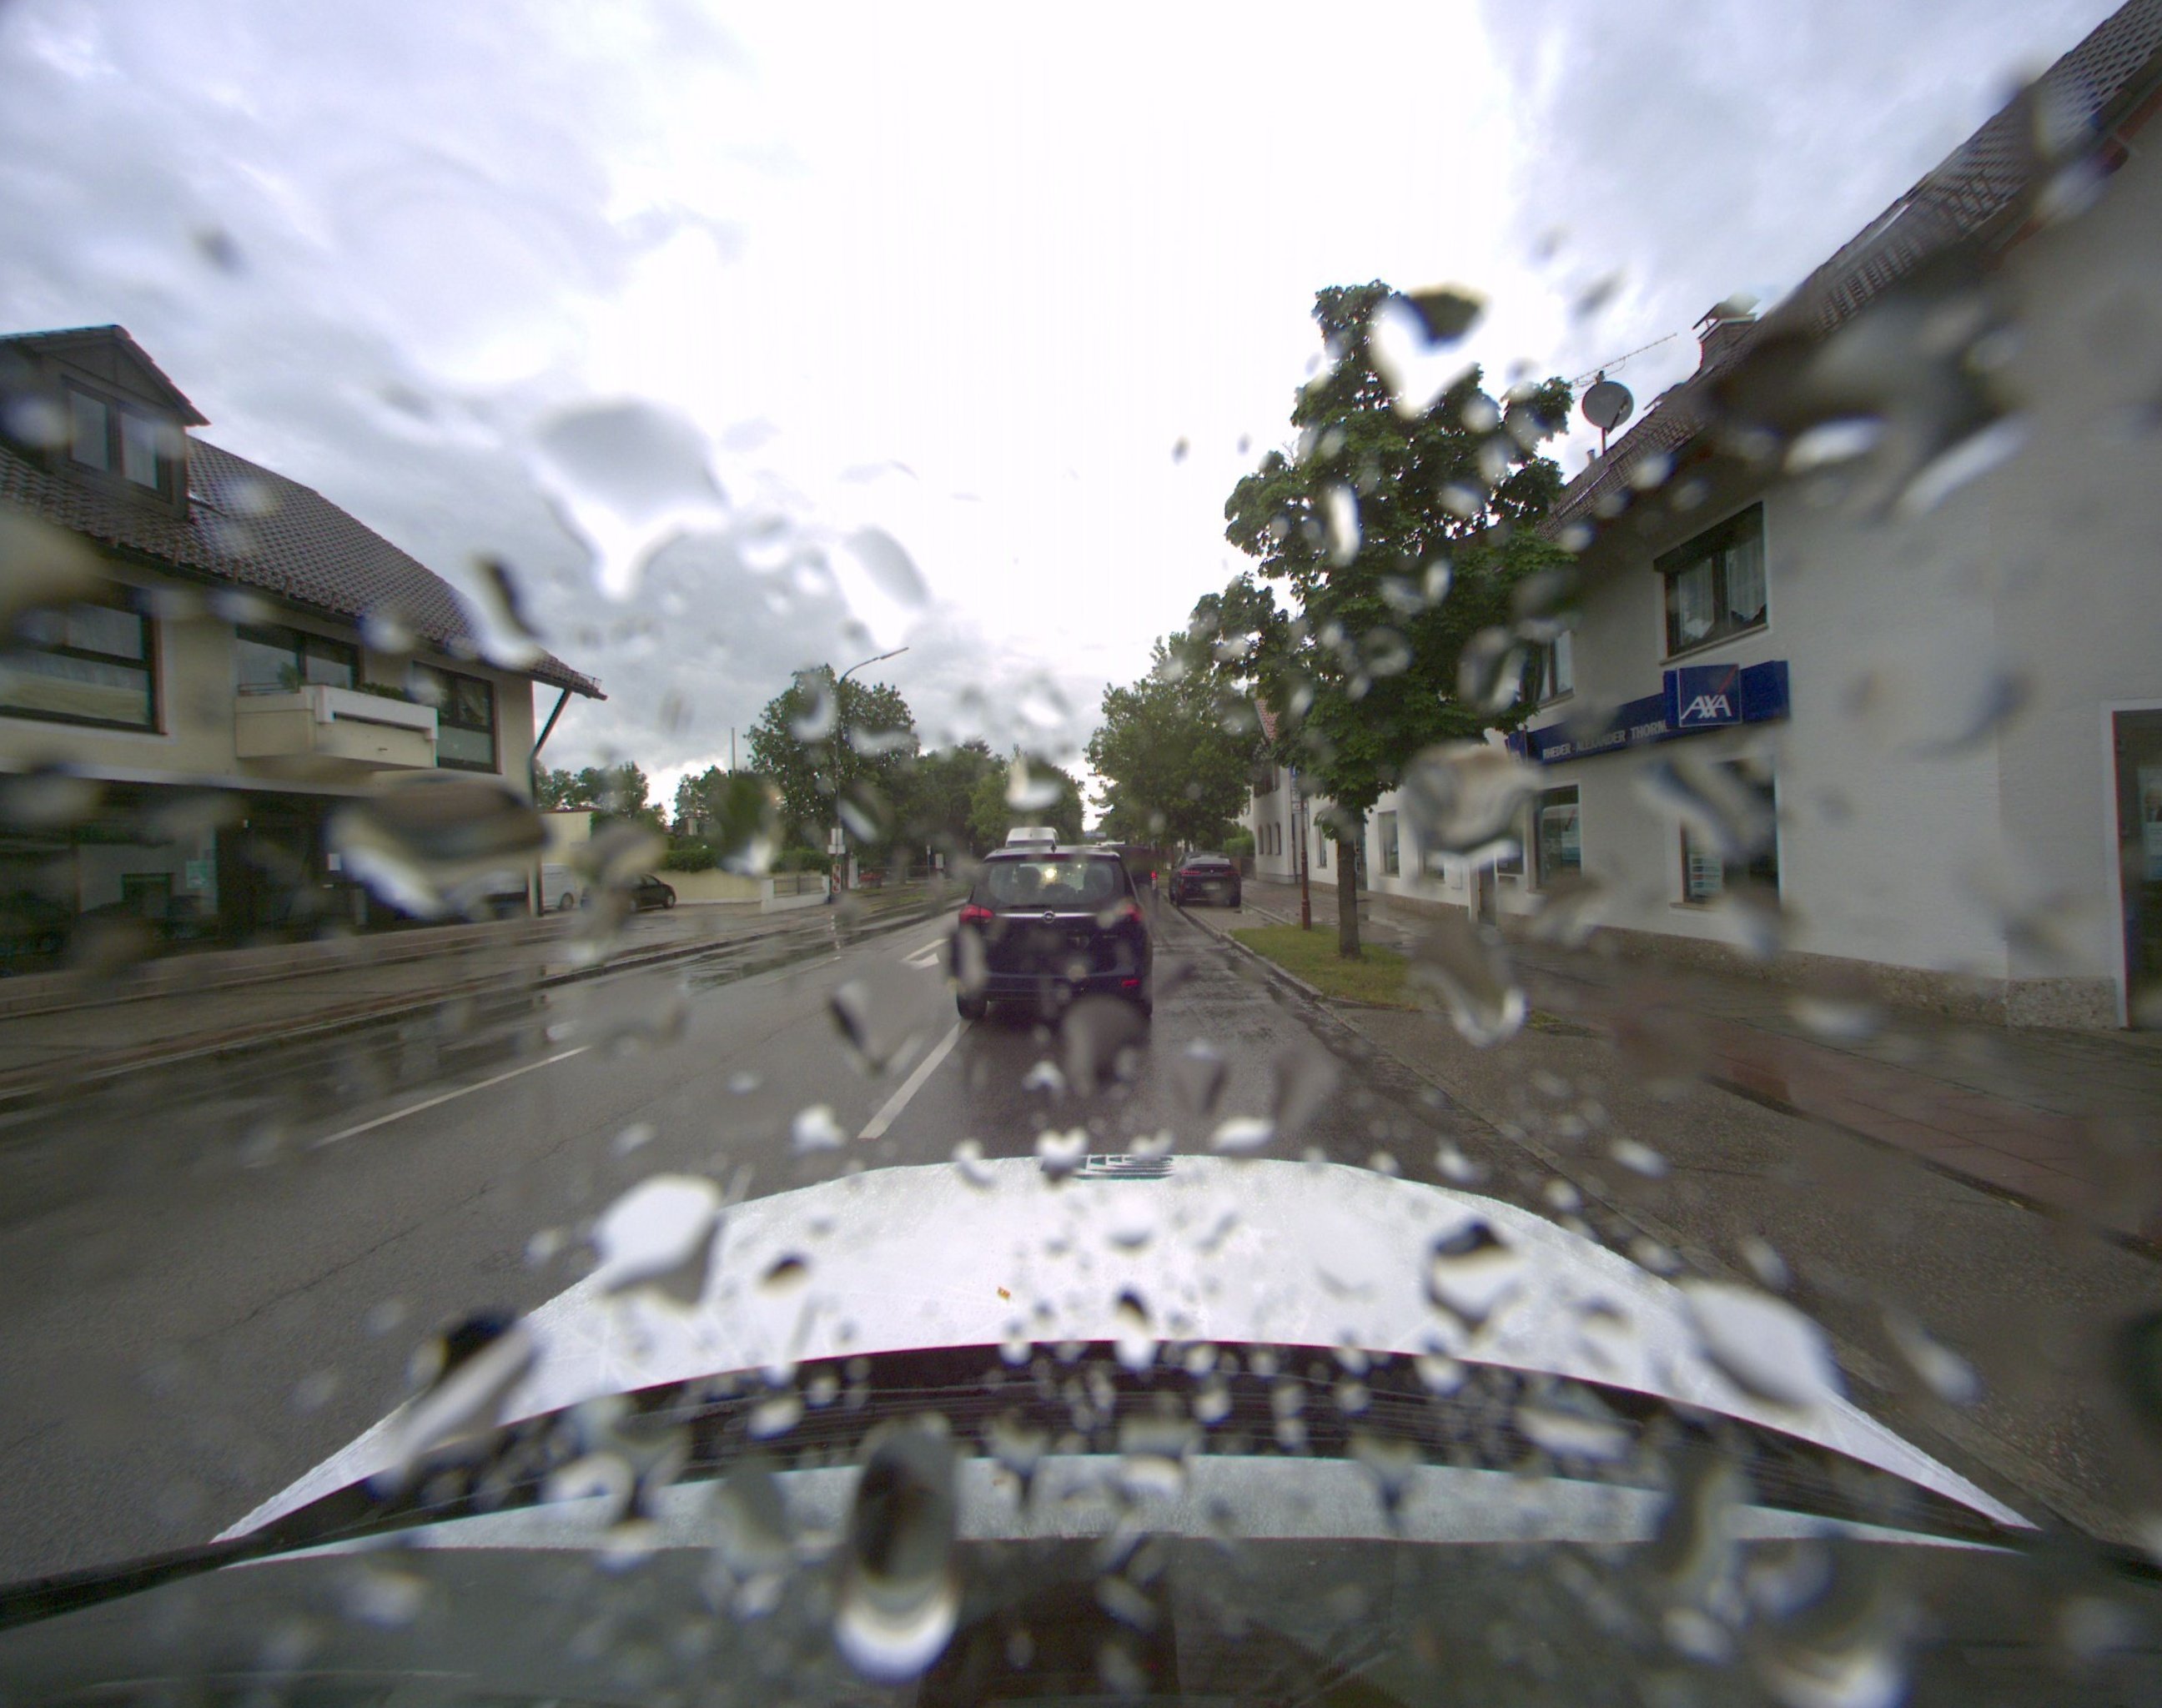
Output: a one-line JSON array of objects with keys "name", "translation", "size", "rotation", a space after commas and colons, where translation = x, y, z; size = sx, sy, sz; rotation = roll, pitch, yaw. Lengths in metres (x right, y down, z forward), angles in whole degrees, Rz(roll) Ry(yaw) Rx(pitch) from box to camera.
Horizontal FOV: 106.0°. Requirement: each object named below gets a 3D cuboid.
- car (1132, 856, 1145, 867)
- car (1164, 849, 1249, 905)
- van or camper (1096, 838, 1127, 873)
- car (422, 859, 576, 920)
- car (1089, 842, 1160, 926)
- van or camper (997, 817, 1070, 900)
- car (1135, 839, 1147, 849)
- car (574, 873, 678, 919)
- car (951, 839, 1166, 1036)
[{"name": "car", "translation": [7.993, 1.067, 113.924], "size": [1.624, 1.378, 3.624], "rotation": [-1, -1, 2]}, {"name": "car", "translation": [3.778, 0.678, 25.197], "size": [2.110, 1.581, 3.936], "rotation": [-1, -1, 1]}, {"name": "van or camper", "translation": [2.485, 0.131, 66.284], "size": [2.351, 2.665, 5.374], "rotation": [-2, 0, 2]}, {"name": "car", "translation": [-20.837, 1.198, 29.453], "size": [1.957, 1.919, 4.738], "rotation": [-3, 0, 1]}, {"name": "car", "translation": [0.992, 0.644, 18.986], "size": [1.494, 1.776, 3.113], "rotation": [-1, 0, 2]}, {"name": "van or camper", "translation": [-1.626, 0.159, 30.451], "size": [2.086, 2.707, 6.271], "rotation": [-2, 0, 2]}, {"name": "car", "translation": [9.034, -1.463, 123.318], "size": [1.624, 1.378, 3.624], "rotation": [-3, -1, 2]}, {"name": "car", "translation": [-16.202, 1.462, 29.176], "size": [1.601, 1.380, 3.510], "rotation": [-3, 0, 1]}, {"name": "car", "translation": [-0.120, 0.699, 8.586], "size": [1.762, 1.604, 3.665], "rotation": [-1, 0, 2]}]
